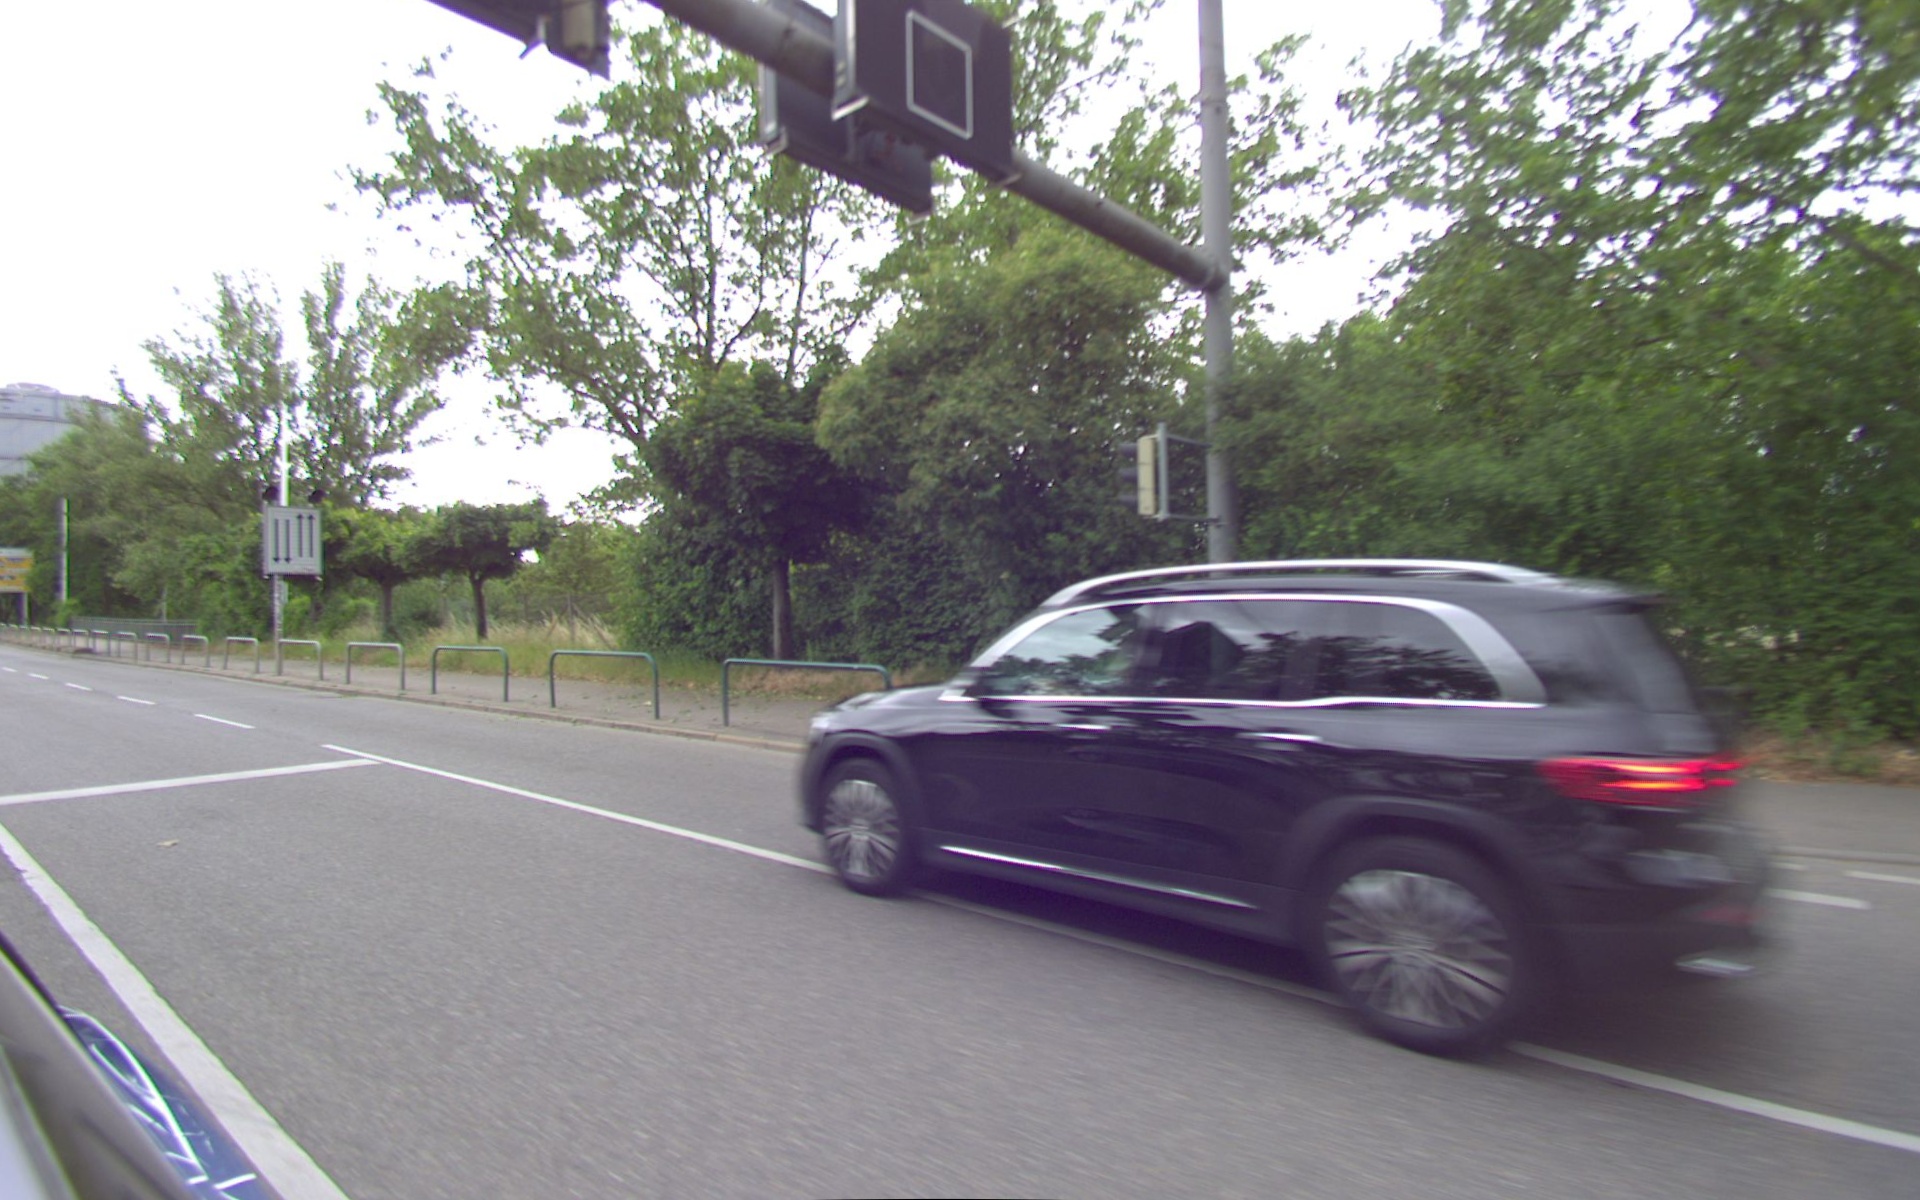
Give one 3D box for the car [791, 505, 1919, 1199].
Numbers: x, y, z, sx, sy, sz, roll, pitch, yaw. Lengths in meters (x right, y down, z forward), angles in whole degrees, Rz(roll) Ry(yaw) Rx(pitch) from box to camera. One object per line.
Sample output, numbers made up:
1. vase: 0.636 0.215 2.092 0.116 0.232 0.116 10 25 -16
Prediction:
1. car: 1.374 0.665 4.731 4.518 1.673 1.971 -1 -2 44
